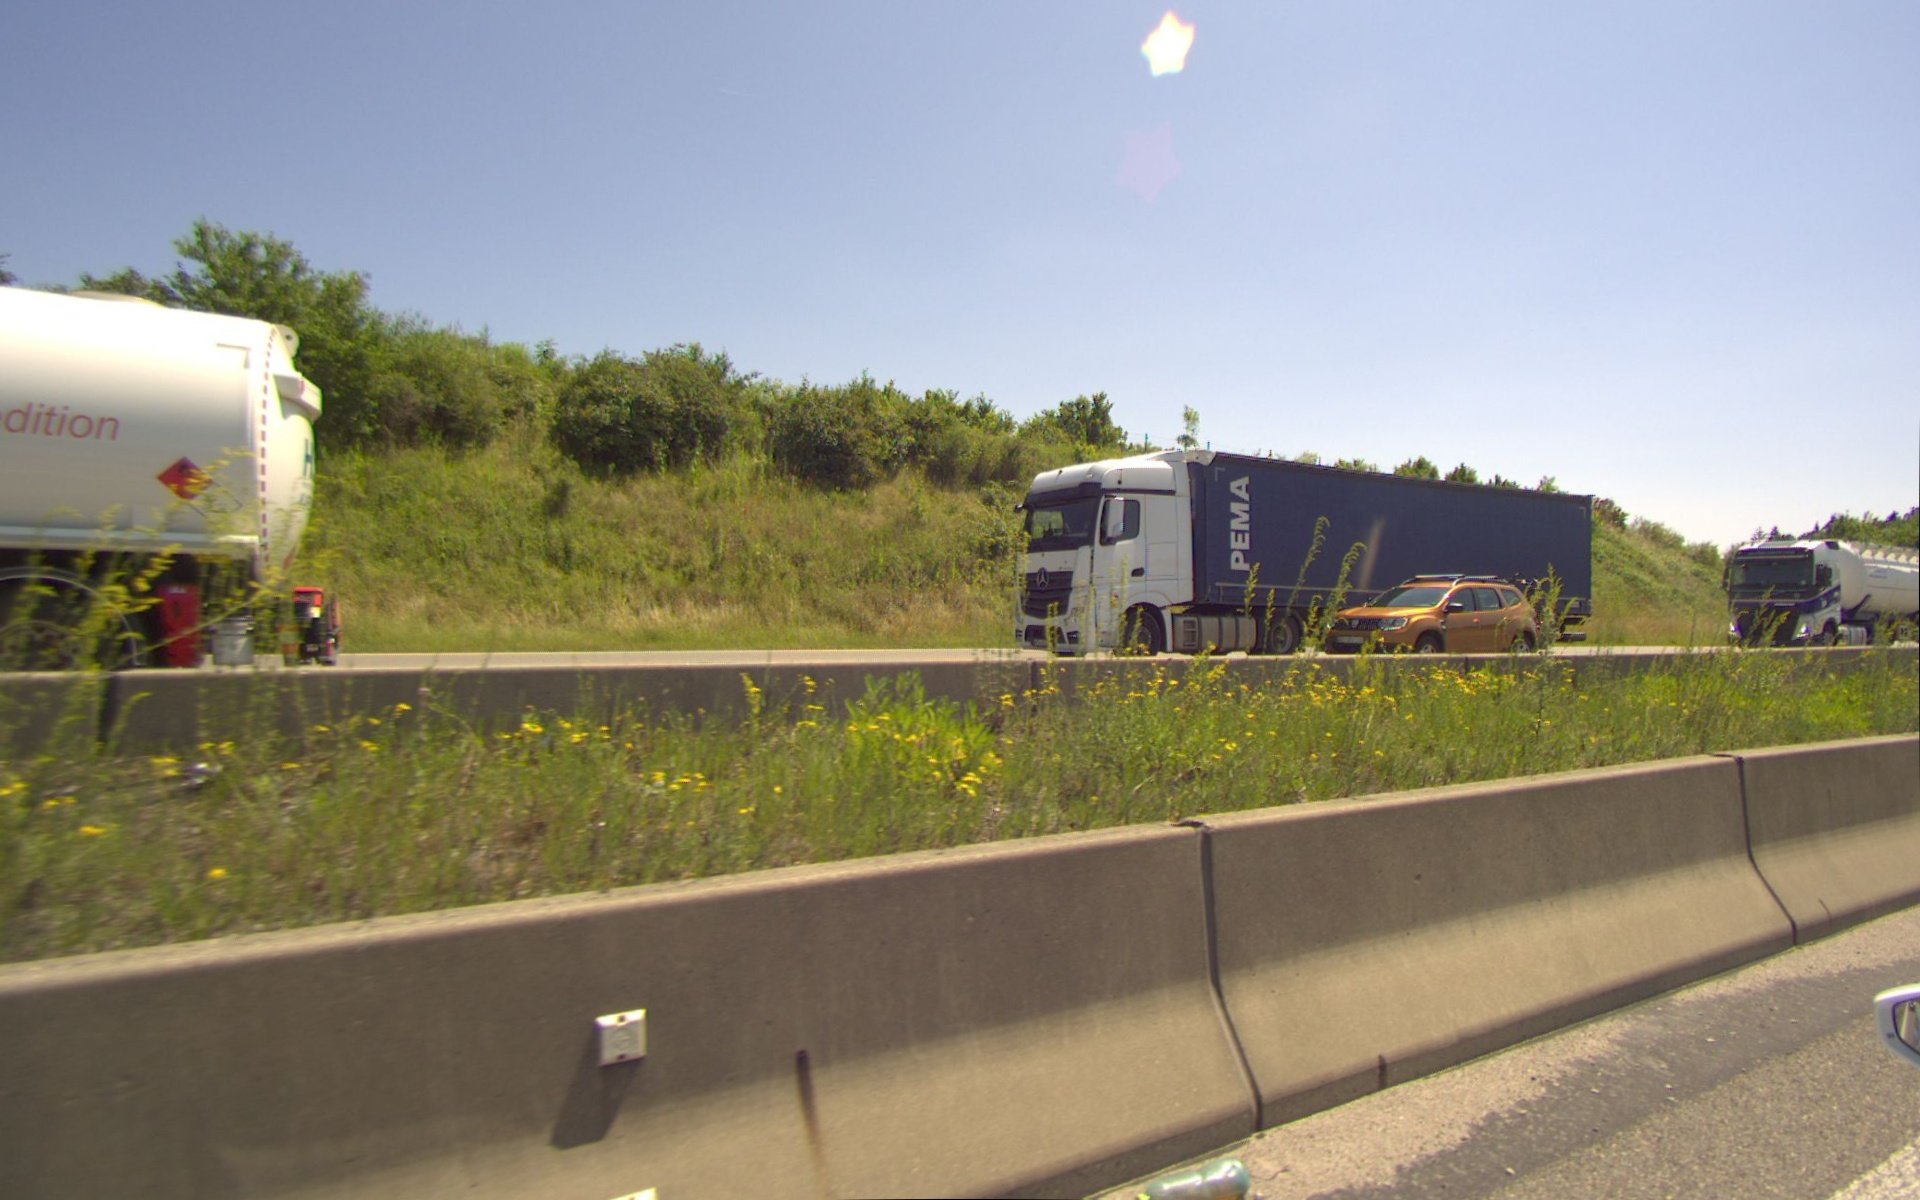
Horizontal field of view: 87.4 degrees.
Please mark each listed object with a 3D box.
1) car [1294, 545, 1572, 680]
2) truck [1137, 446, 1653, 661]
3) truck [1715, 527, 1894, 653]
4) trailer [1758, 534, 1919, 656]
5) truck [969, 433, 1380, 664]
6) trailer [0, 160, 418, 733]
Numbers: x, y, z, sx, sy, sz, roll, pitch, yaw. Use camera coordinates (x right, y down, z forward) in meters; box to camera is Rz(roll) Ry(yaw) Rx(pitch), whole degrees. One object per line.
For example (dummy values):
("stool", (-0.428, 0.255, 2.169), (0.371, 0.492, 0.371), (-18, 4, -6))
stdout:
("car", (8.536, 0.208, 17.986), (5.004, 2.091, 2.073), (1, 3, -33))
("truck", (11.273, -0.832, 24.706), (14.829, 4.148, 3.561), (1, 1, -31))
("truck", (28.793, -0.265, 34.212), (6.243, 3.930, 2.679), (1, 0, -30))
("trailer", (34.625, -0.081, 37.780), (13.094, 4.003, 2.665), (2, 3, -31))
("truck", (4.533, -0.787, 20.737), (8.050, 3.961, 3.492), (2, 0, -30))
("trailer", (-10.102, -1.097, 6.490), (11.513, 4.002, 2.666), (1, -1, -31))
